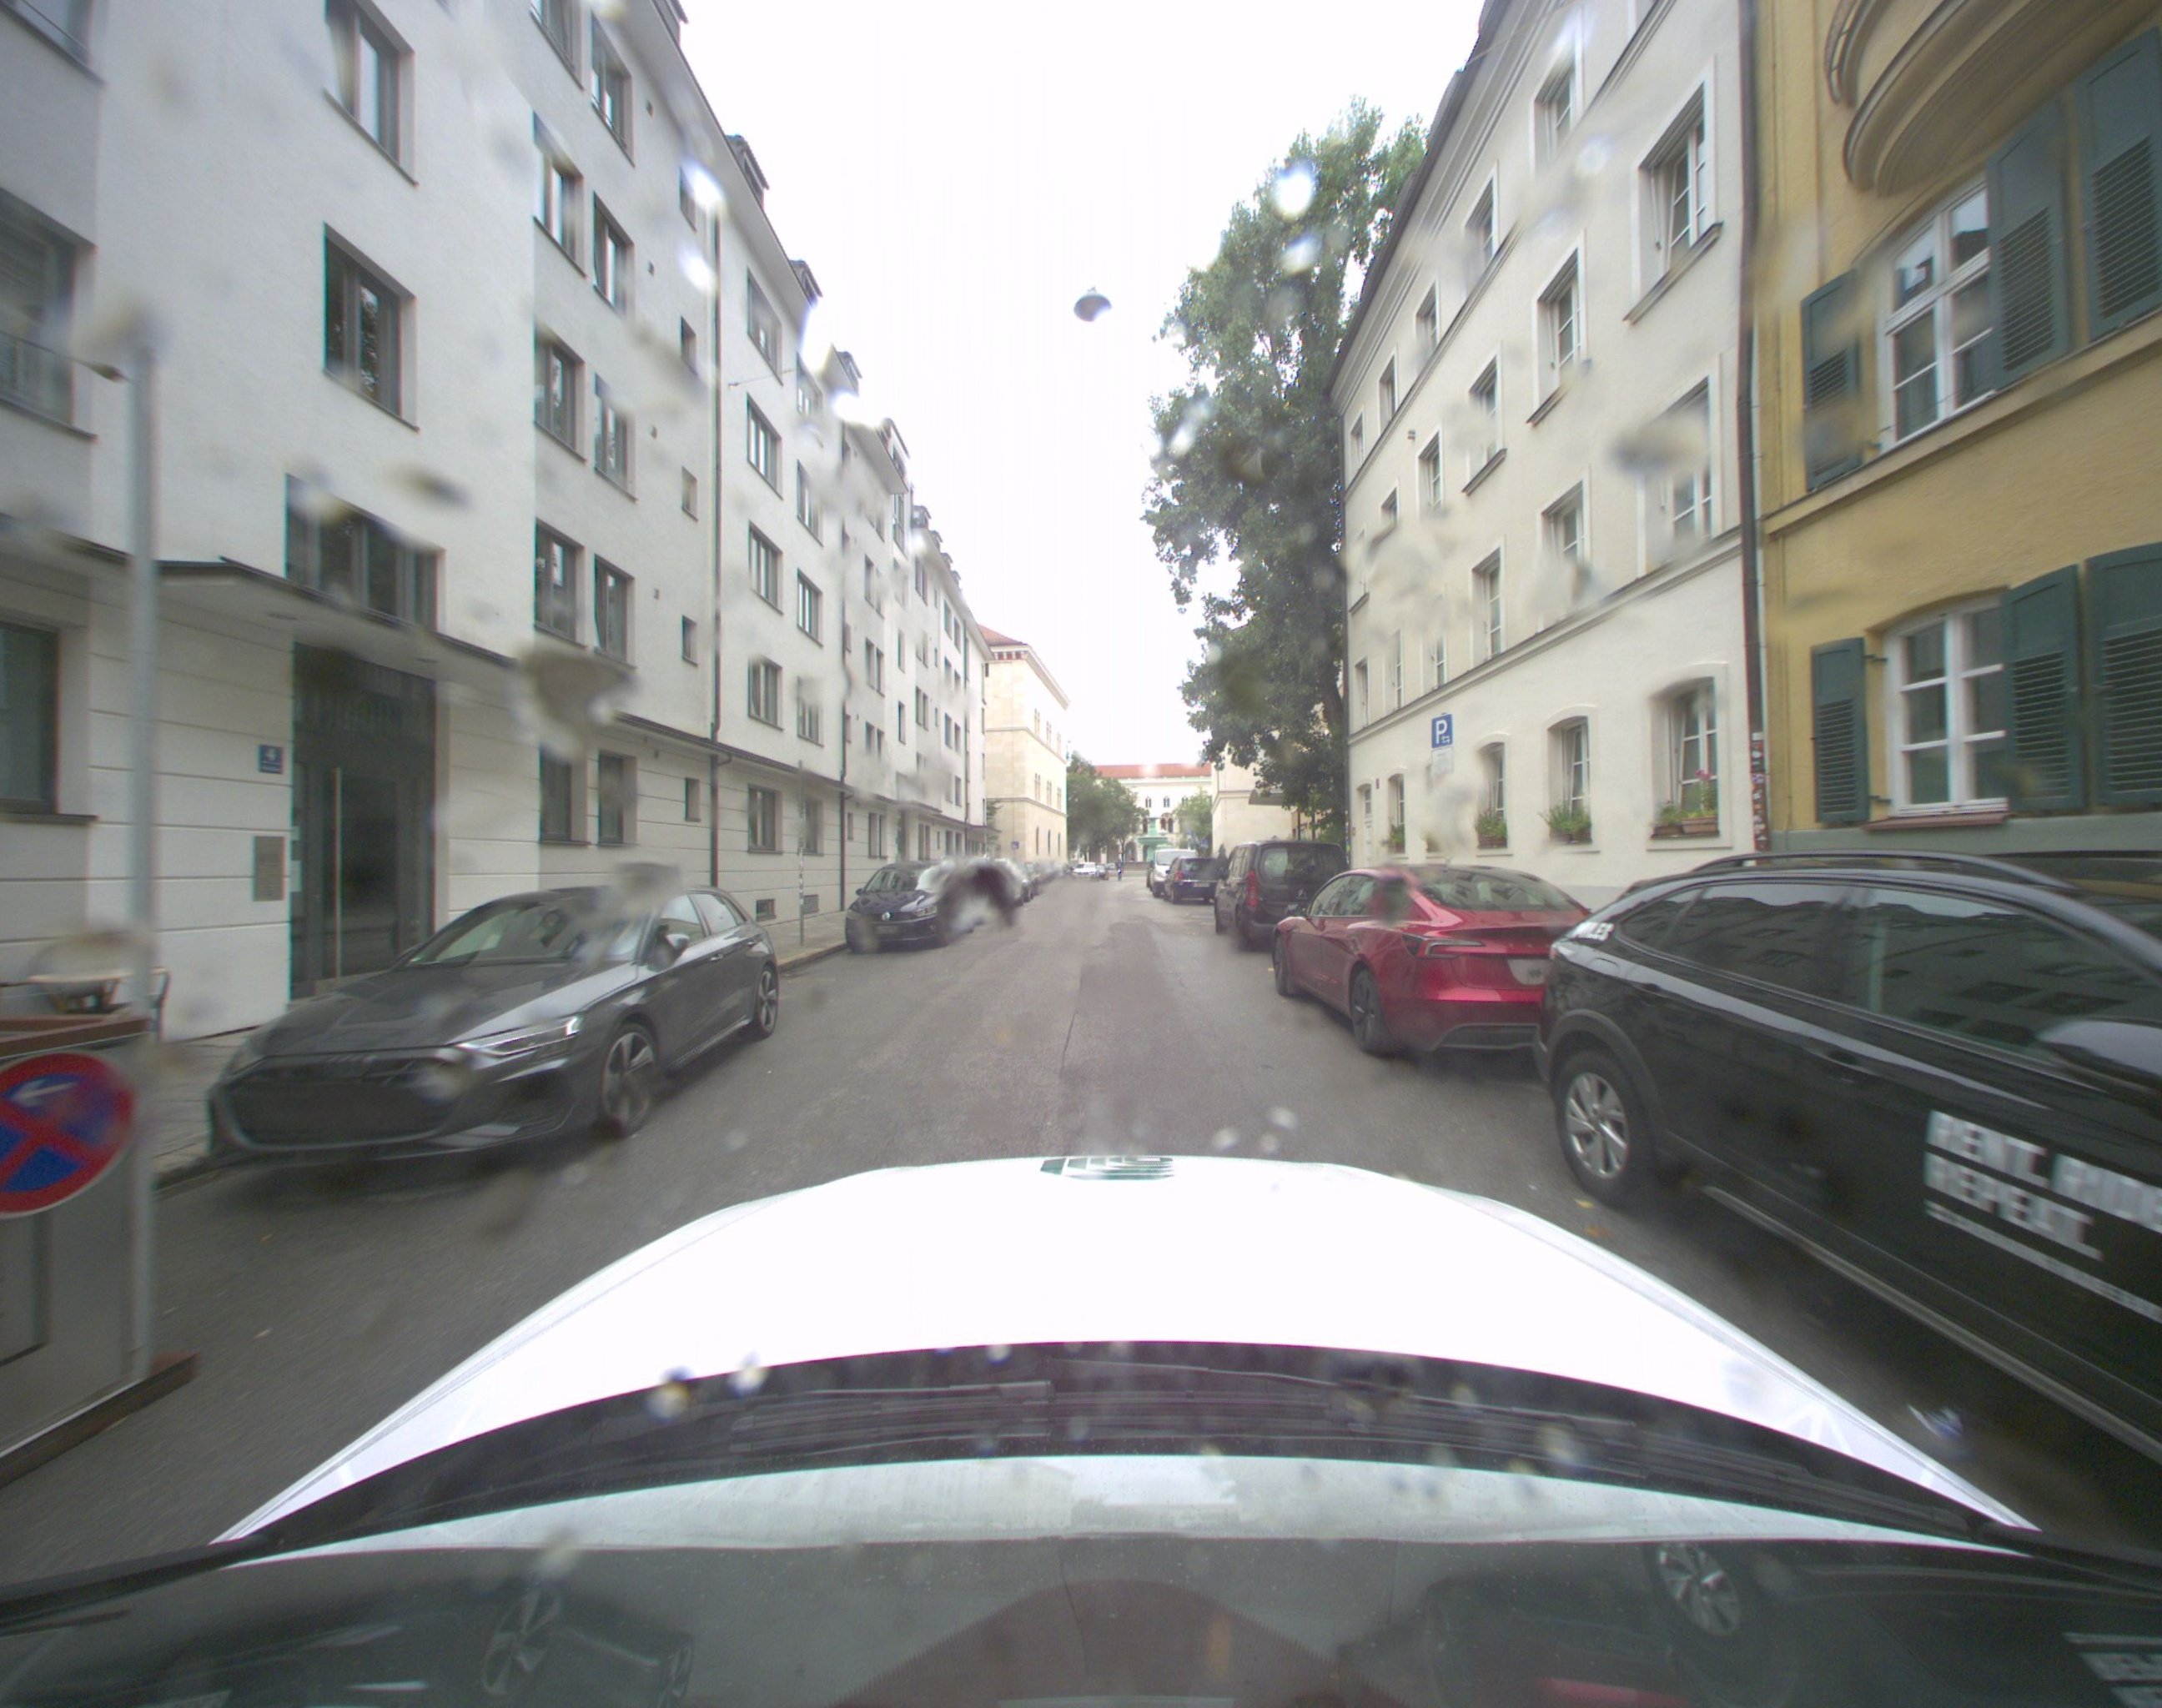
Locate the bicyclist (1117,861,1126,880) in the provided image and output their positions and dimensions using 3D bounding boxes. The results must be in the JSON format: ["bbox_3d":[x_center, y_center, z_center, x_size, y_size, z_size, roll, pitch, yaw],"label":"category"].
[{"bbox_3d":[3.250,1.322,65.446,0.654,1.551,0.888,-2,-1,4],"label":"bicyclist"}]

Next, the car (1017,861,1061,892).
[{"bbox_3d":[-2.225,1.192,43.953,1.742,1.453,4.021,-3,0,5],"label":"car"}]

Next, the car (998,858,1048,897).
[{"bbox_3d":[-2.658,1.059,38.490,1.865,1.658,4.081,-3,0,2],"label":"car"}]

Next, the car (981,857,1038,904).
[{"bbox_3d":[-2.810,1.010,32.864,1.867,1.658,4.588,-3,0,-1],"label":"car"}]

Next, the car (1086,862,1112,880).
[{"bbox_3d":[1.605,1.436,70.180,1.689,1.393,4.220,-3,-1,7],"label":"car"}]

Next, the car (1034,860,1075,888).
[{"bbox_3d":[-1.513,1.178,48.649,1.741,1.453,4.024,-3,0,7],"label":"car"}]

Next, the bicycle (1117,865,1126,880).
[{"bbox_3d":[3.241,1.476,65.336,0.646,1.197,1.952,-2,-1,4],"label":"bicycle"}]

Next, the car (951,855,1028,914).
[{"bbox_3d":[-2.916,0.935,26.959,1.865,1.658,4.592,-3,0,1],"label":"car"}]

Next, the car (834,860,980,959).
[{"bbox_3d":[-3.191,0.946,15.806,1.767,1.539,4.160,-3,0,1],"label":"car"}]

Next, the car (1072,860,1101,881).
[{"bbox_3d":[0.472,1.303,63.864,1.769,1.535,4.219,-3,-1,6],"label":"car"}]

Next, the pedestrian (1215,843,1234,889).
[{"bbox_3d":[6.930,0.580,39.411,0.790,2.197,0.814,-1,0,1],"label":"pedestrian"}]

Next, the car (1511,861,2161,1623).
[{"bbox_3d":[3.046,0.793,2.201,1.739,1.464,4.002,-2,0,2],"label":"car"}]

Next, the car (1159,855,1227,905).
[{"bbox_3d":[3.838,0.849,28.438,1.802,1.600,4.215,-1,0,0],"label":"car"}]

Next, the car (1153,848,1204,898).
[{"bbox_3d":[4.020,0.757,34.208,1.874,1.924,4.880,-1,0,4],"label":"car"}]

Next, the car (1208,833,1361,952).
[{"bbox_3d":[3.428,0.610,14.522,1.839,1.776,4.203,1,-1,3],"label":"car"}]

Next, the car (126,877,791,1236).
[{"bbox_3d":[-3.443,0.936,5.620,1.636,1.354,4.052,-3,0,-5],"label":"car"}]

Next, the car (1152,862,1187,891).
[{"bbox_3d":[4.509,1.118,41.778,1.665,1.417,4.208,-1,0,6],"label":"car"}]

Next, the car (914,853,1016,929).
[{"bbox_3d":[-2.908,0.878,21.461,1.865,1.688,4.521,-3,0,1],"label":"car"}]

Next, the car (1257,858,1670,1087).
[{"bbox_3d":[2.929,0.775,7.440,1.707,1.424,4.458,-1,-1,1],"label":"car"}]

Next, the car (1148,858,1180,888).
[{"bbox_3d":[4.714,1.064,46.386,1.739,1.594,3.961,-1,-1,5],"label":"car"}]

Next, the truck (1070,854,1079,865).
[{"bbox_3d":[-1.499,1.353,188.486,1.989,2.489,3.995,0,0,-4],"label":"truck"}]
